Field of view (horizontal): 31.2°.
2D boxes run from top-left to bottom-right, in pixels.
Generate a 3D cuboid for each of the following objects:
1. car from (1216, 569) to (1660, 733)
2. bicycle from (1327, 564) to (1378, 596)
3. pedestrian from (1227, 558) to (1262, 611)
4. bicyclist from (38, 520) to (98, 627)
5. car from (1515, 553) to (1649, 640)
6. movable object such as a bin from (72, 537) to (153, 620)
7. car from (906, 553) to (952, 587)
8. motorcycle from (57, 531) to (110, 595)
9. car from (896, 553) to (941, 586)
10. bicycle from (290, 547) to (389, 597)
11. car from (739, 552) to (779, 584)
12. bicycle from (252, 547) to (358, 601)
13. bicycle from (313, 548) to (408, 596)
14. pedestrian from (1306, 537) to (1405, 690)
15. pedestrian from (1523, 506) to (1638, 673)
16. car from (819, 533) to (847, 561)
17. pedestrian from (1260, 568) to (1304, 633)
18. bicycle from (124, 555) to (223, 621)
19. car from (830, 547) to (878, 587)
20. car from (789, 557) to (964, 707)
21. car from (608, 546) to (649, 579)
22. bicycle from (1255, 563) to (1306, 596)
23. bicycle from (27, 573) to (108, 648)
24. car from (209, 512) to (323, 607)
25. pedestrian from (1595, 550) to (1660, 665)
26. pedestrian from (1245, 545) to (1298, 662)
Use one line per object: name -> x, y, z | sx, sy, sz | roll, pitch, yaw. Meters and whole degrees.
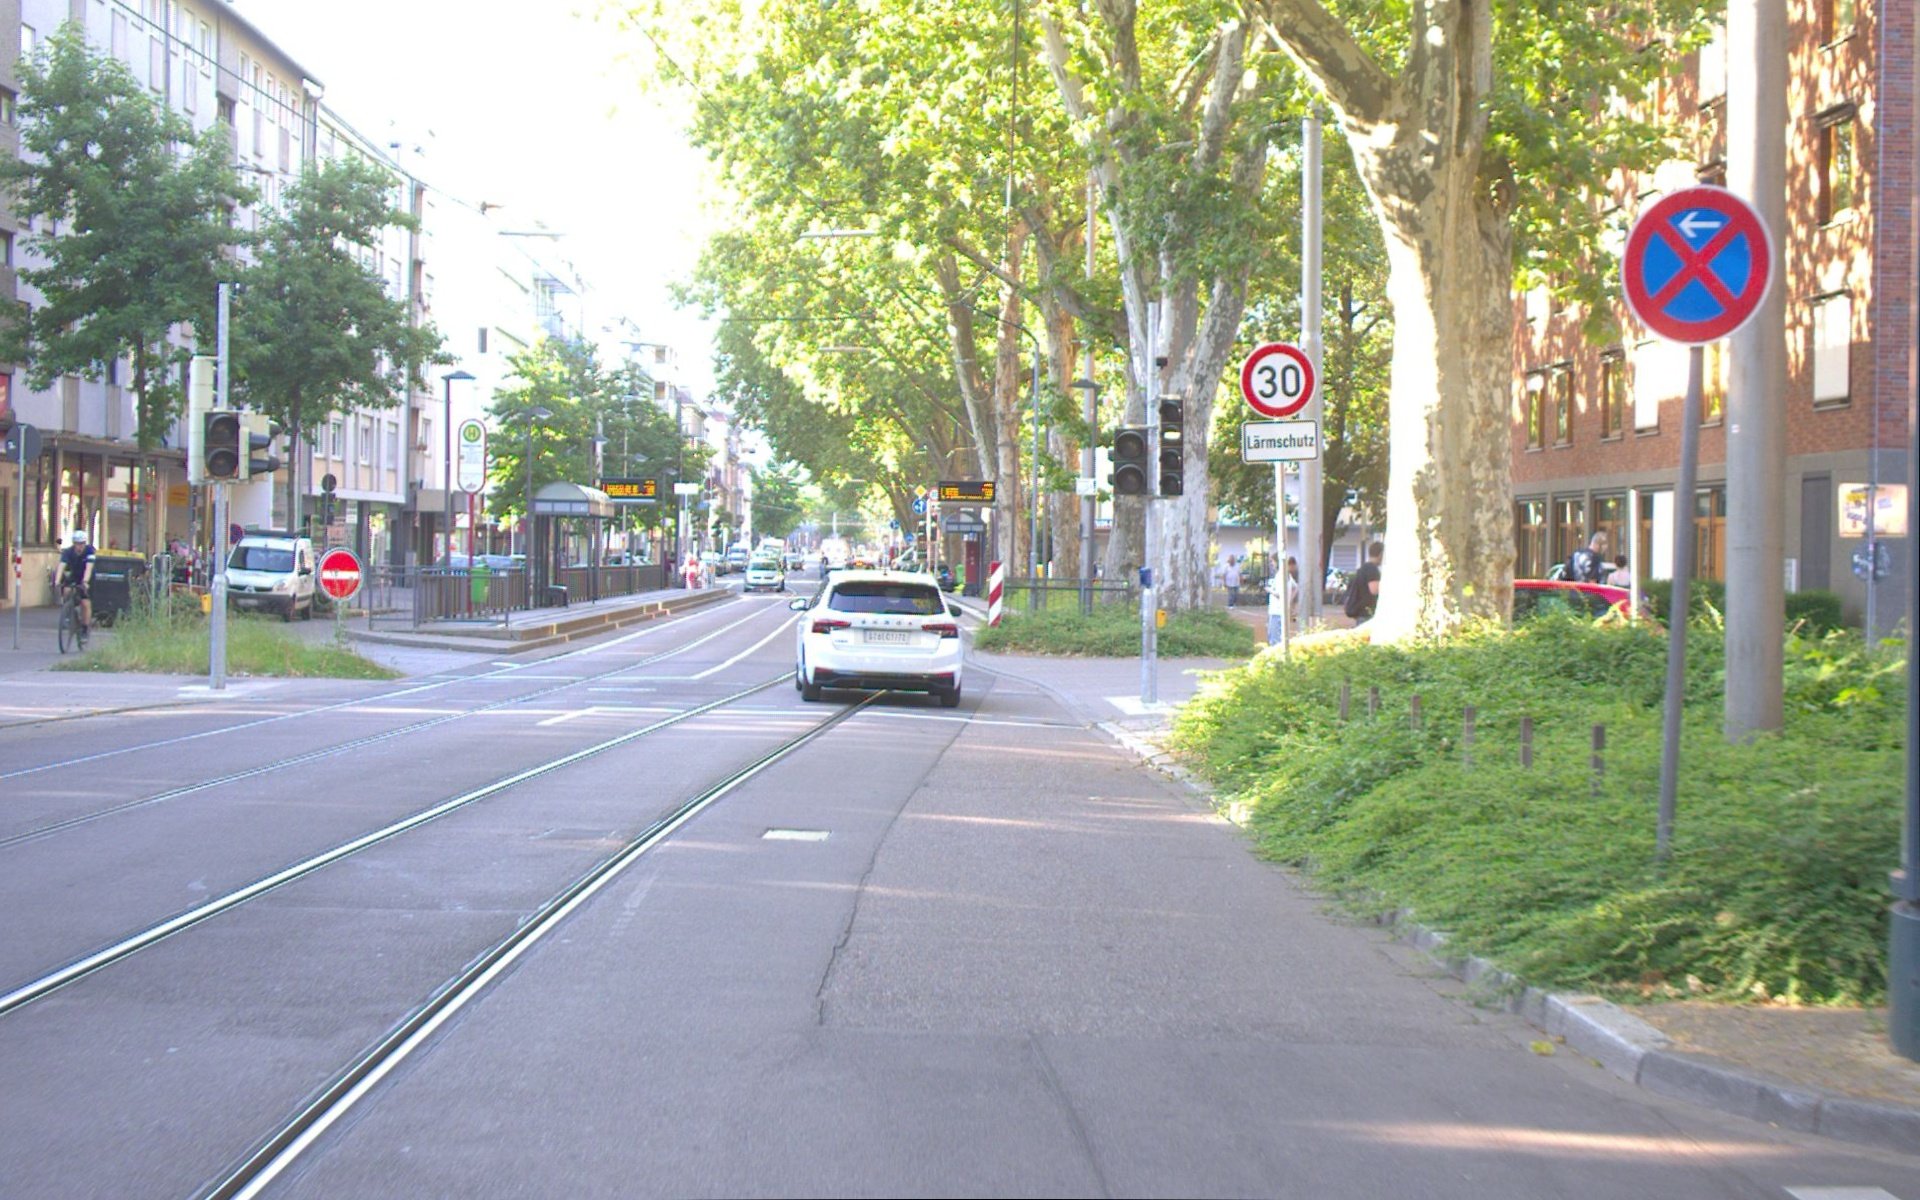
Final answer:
car -> 4.359, 0.449, 31.768 | 3.885, 1.418, 1.648 | 1, 1, 2
bicycle -> 12.758, -0.655, 111.741 | 1.567, 1.034, 0.479 | 1, 1, 20
pedestrian -> 8.867, -0.492, 107.245 | 0.972, 1.618, 0.888 | 1, 1, -2
bicyclist -> -12.246, -0.366, 47.211 | 0.641, 1.450, 0.837 | 0, 1, -2
car -> 11.110, -0.082, 61.571 | 1.600, 1.490, 3.417 | 1, 1, -3
movable object such as a bin -> -14.700, -0.375, 59.659 | 1.169, 1.344, 0.783 | 4, 0, -6
car -> -1.410, -1.355, 154.364 | 1.993, 1.448, 4.000 | 1, 1, -2
motorcycle -> -18.284, -0.774, 71.756 | 0.599, 1.306, 2.222 | 1, 1, -2
car -> -1.958, -1.428, 159.439 | 1.993, 1.448, 4.000 | 1, 1, -2
bicycle -> -15.198, -0.682, 84.218 | 2.253, 1.070, 0.636 | 4, 1, 0
car -> -9.092, -1.447, 155.624 | 1.693, 1.414, 4.000 | 1, 1, -2
bicycle -> -15.025, -0.604, 78.876 | 2.253, 1.070, 0.636 | 4, 1, 0
bicycle -> -15.306, -0.715, 87.794 | 2.253, 1.070, 0.636 | 4, 1, 0
pedestrian -> 4.733, 0.157, 41.203 | 0.994, 1.805, 0.864 | 0, 1, -7
pedestrian -> 7.160, -0.132, 39.720 | 0.982, 1.857, 1.016 | -3, 1, -7
car -> -8.725, -3.673, 236.415 | 1.866, 1.886, 4.000 | 1, 1, -2
pedestrian -> 8.136, 0.011, 86.848 | 0.972, 1.618, 0.888 | 1, 1, -2
bicycle -> -14.114, -0.220, 61.745 | 1.533, 1.071, 0.885 | 4, 1, -2
car -> -4.048, -1.275, 131.636 | 1.788, 1.508, 4.000 | 1, 1, -2
car -> -0.919, 0.303, 37.580 | 1.788, 1.508, 4.000 | 1, 1, -2
car -> -16.532, -1.887, 171.682 | 1.677, 1.543, 4.000 | 3, 1, -2
bicycle -> 10.493, -0.666, 112.541 | 1.567, 1.034, 0.504 | 1, 1, 20
bicycle -> -12.239, 0.139, 47.208 | 0.641, 0.983, 2.101 | 0, 1, -2
car -> -14.671, -0.870, 72.845 | 1.688, 1.933, 4.000 | 1, 1, -2
pedestrian -> 9.747, 0.104, 50.199 | 0.735, 1.663, 0.835 | 1, 1, -2
pedestrian -> 4.518, 0.045, 49.828 | 0.652, 1.663, 0.738 | 1, 1, -2
